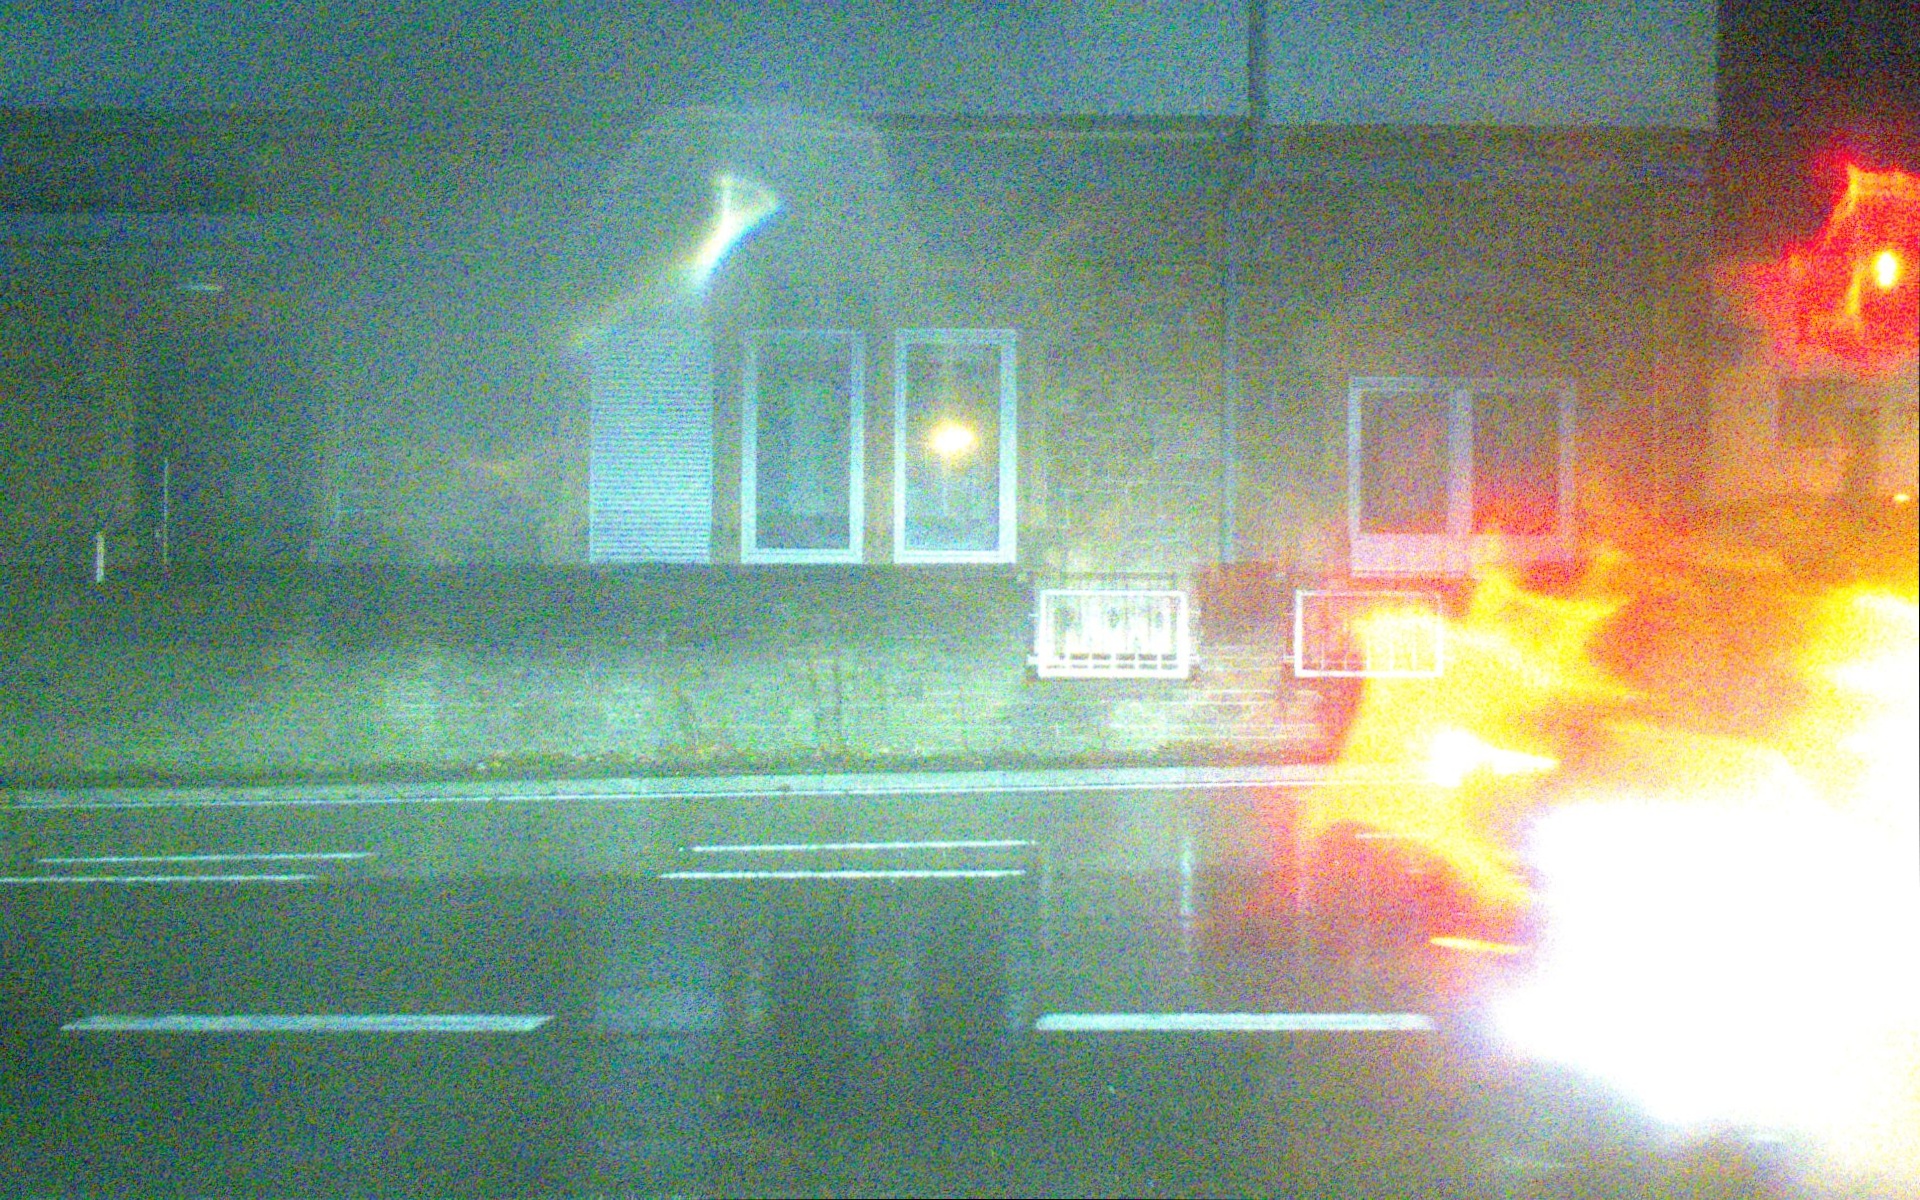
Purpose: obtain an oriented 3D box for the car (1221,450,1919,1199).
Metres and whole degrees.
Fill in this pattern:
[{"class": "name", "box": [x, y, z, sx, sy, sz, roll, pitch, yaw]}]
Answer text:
[{"class": "car", "box": [2.666, 0.545, 8.745, 2.062, 1.672, 4.131, 4, 3, 36]}]
